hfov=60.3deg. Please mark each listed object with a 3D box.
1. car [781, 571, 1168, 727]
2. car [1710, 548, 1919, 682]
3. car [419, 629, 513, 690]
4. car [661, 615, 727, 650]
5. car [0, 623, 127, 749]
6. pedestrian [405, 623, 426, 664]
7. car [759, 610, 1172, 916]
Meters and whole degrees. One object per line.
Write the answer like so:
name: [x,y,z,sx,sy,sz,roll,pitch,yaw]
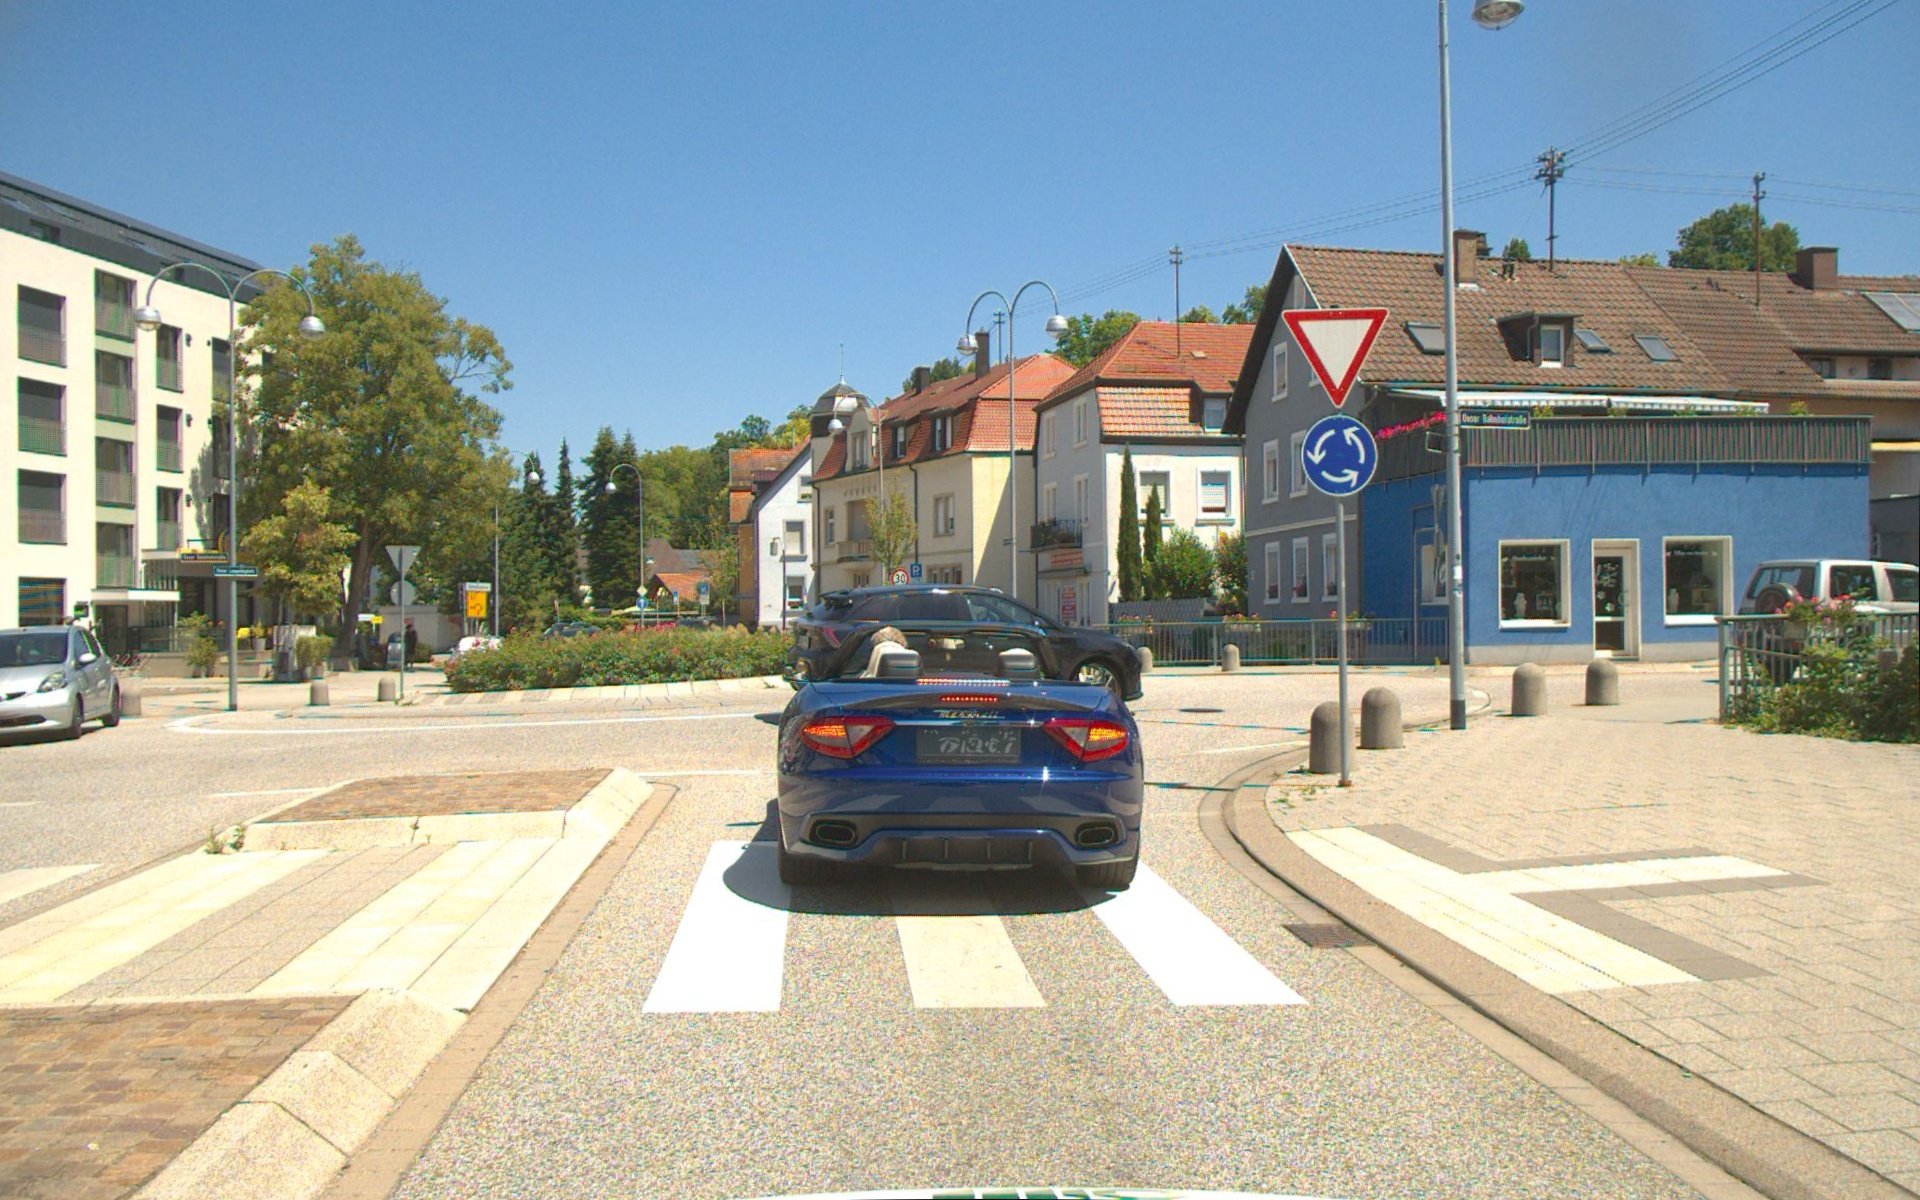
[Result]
car: [0.134,0.506,19.254,4.178,1.574,1.805,-1,2,-15]
car: [13.665,0.249,24.879,4.142,1.908,1.758,1,-1,-12]
car: [-13.712,1.618,46.100,1.957,1.536,3.991,-1,-1,-9]
car: [-13.030,1.604,80.912,1.832,1.616,3.957,-2,0,-31]
car: [-12.275,1.094,21.898,1.550,1.475,3.454,-3,0,-17]
pedestrian: [-21.323,1.698,64.755,0.523,1.603,0.563,-2,-1,9]
car: [0.029,0.763,9.658,1.871,1.384,4.285,0,-1,0]
